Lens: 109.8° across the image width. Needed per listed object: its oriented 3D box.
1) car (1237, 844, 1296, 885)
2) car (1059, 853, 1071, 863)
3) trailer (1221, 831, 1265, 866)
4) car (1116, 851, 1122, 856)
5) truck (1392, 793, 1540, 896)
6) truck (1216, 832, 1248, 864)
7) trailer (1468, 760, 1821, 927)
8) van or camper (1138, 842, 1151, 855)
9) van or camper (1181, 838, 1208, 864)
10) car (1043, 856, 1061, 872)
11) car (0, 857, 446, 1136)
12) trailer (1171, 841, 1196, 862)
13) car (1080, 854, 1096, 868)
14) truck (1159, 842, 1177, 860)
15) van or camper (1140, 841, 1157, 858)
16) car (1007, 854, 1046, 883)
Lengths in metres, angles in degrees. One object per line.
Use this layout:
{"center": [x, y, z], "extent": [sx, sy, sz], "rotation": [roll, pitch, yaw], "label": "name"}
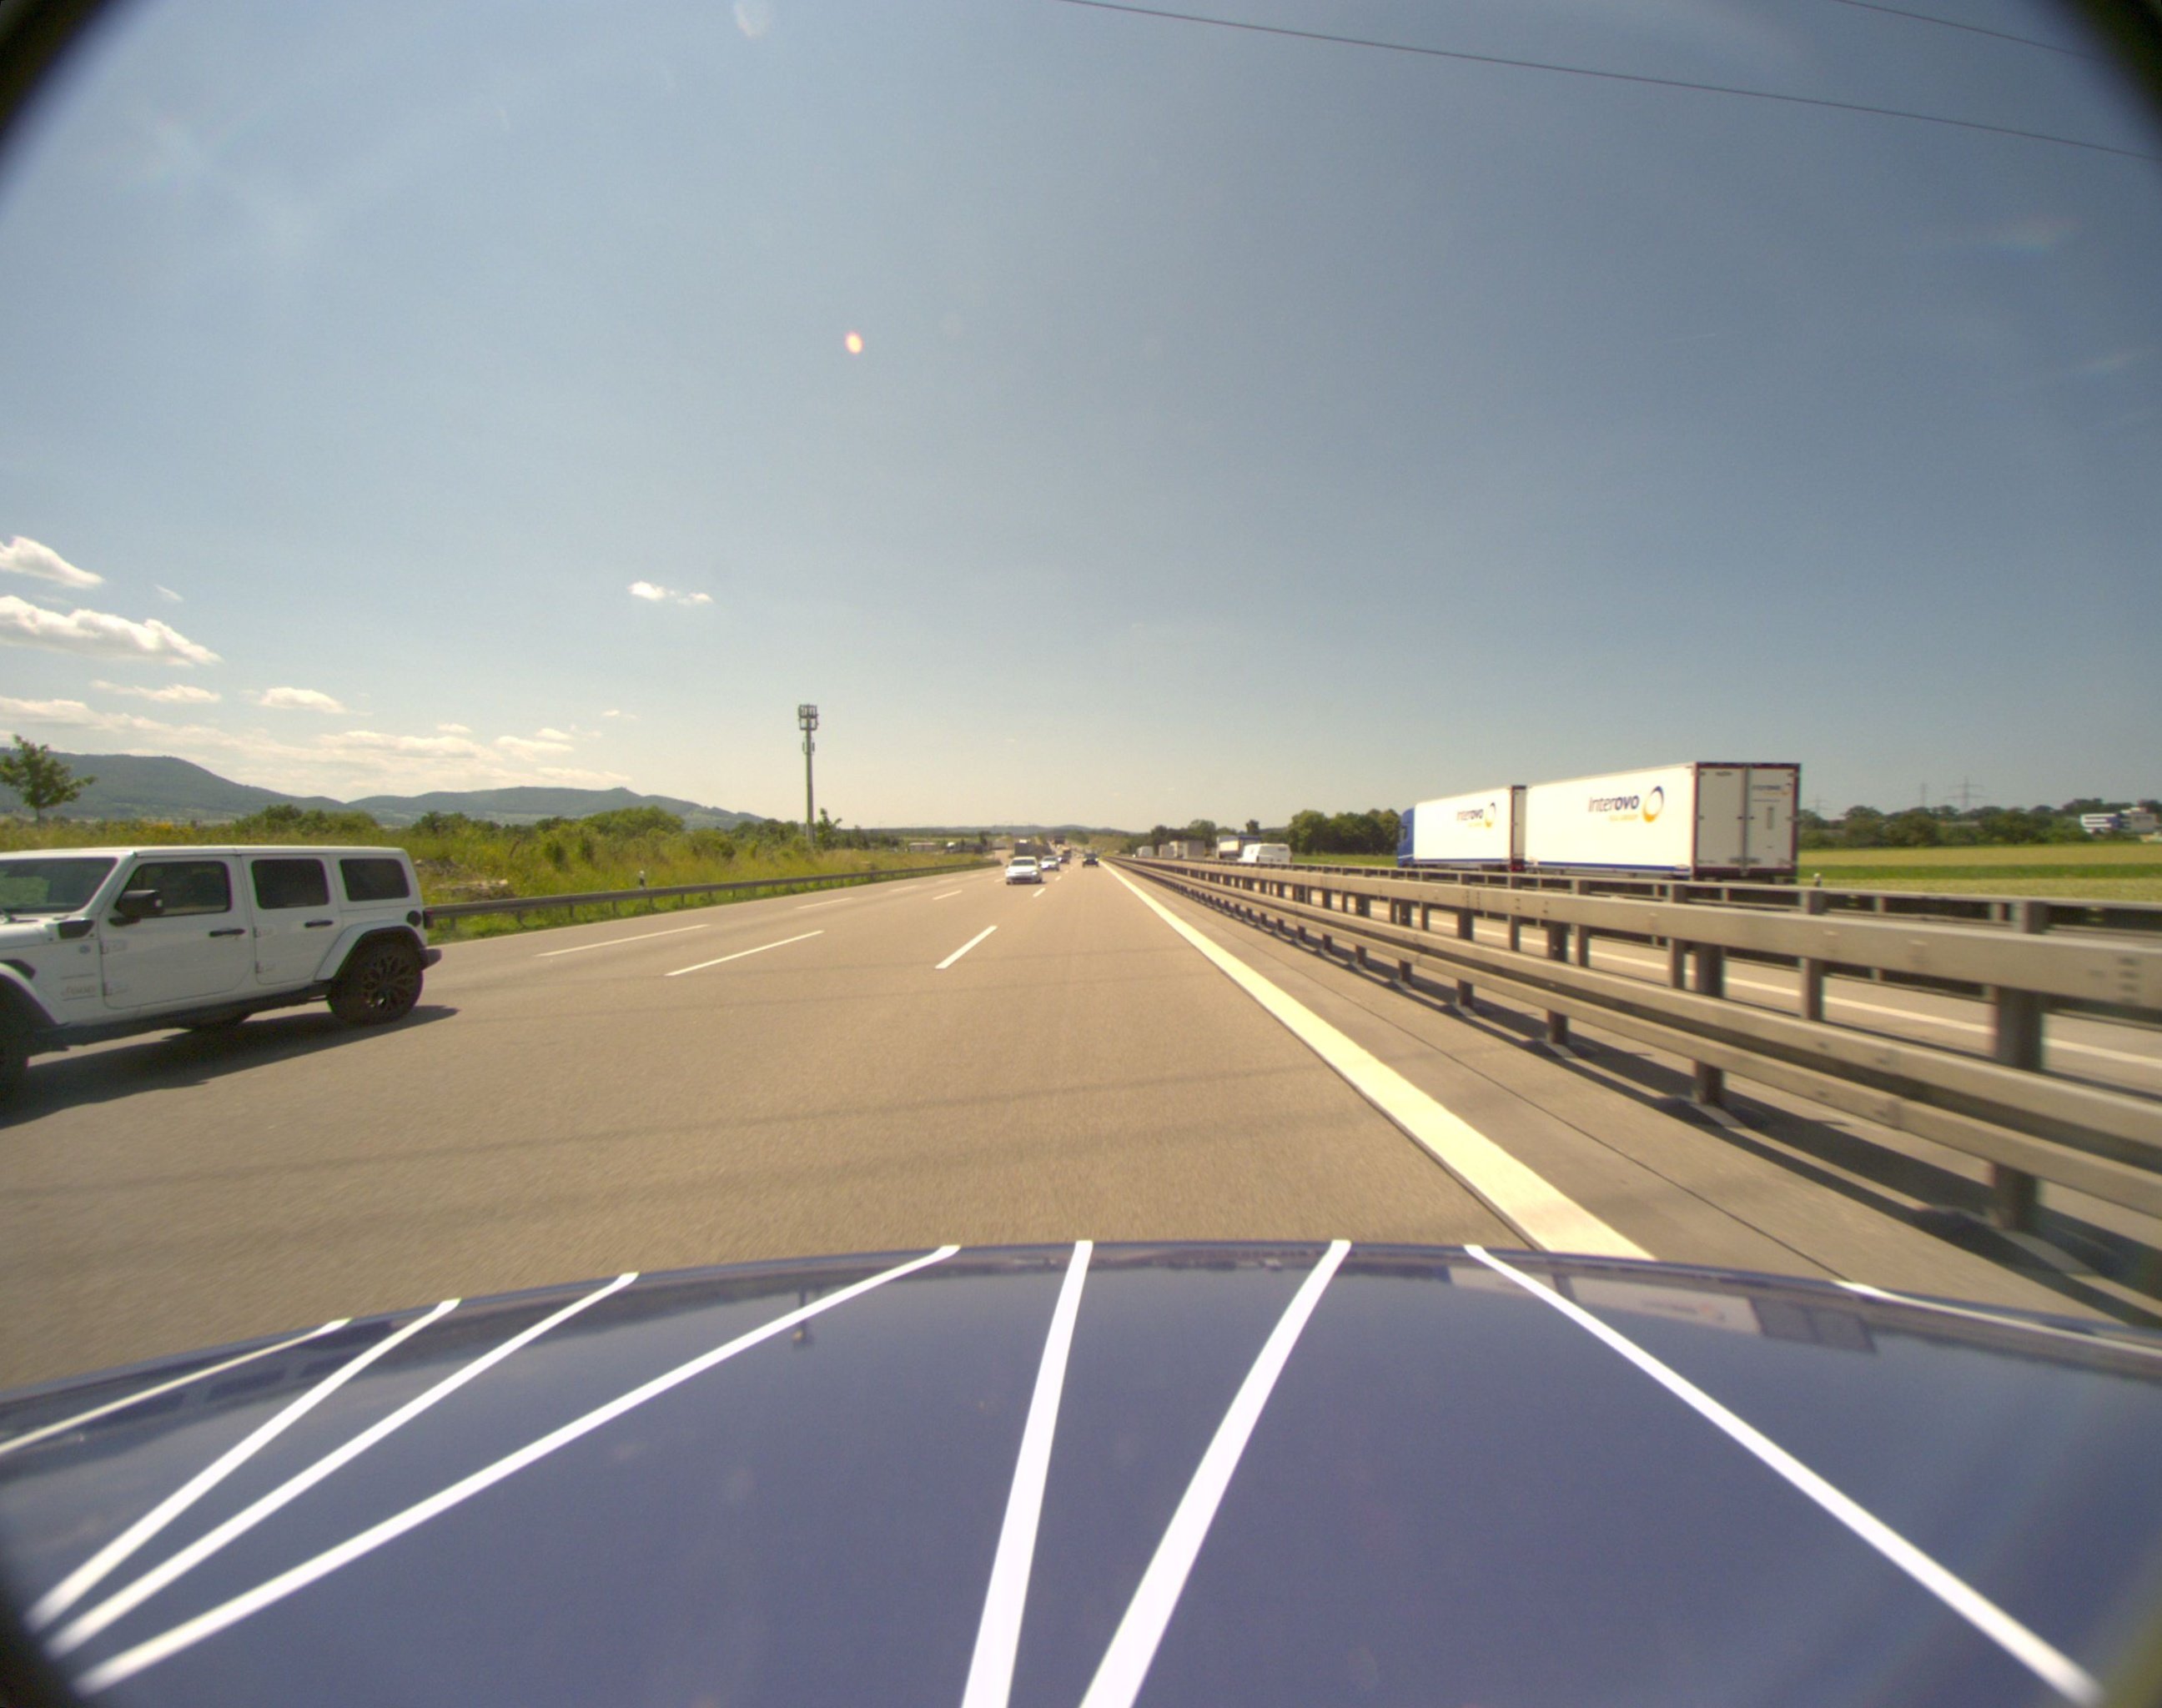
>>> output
{"center": [9.733, 0.505, 40.245], "extent": [1.989, 1.998, 4.649], "rotation": [1, 0, 1], "label": "car"}
{"center": [-2.477, 0.604, 118.080], "extent": [1.751, 1.559, 3.999], "rotation": [-2, 1, -1], "label": "car"}
{"center": [18.433, -0.607, 87.355], "extent": [2.713, 3.671, 11.358], "rotation": [-2, 1, 1], "label": "trailer"}
{"center": [12.345, -0.098, 250.029], "extent": [1.815, 1.631, 4.428], "rotation": [1, 1, 1], "label": "car"}
{"center": [17.028, -0.422, 34.315], "extent": [2.828, 4.066, 7.530], "rotation": [-2, 1, 0], "label": "truck"}
{"center": [18.513, -0.711, 93.544], "extent": [2.724, 3.669, 6.055], "rotation": [-2, 1, 1], "label": "truck"}
{"center": [16.942, -0.319, 24.662], "extent": [2.840, 4.023, 11.664], "rotation": [-2, 1, 1], "label": "trailer"}
{"center": [13.405, -1.158, 159.883], "extent": [2.163, 2.719, 7.295], "rotation": [-2, 1, 1], "label": "van or camper"}
{"center": [14.545, -0.406, 97.662], "extent": [2.346, 3.146, 7.401], "rotation": [1, 0, 1], "label": "van or camper"}
{"center": [-2.727, 0.935, 72.059], "extent": [1.634, 1.381, 3.999], "rotation": [-2, 1, -1], "label": "car"}
{"center": [-8.135, 0.980, 6.326], "extent": [2.039, 1.794, 4.250], "rotation": [-2, 0, 0], "label": "car"}
{"center": [19.767, -0.536, 147.313], "extent": [2.965, 3.895, 12.893], "rotation": [-2, 1, 1], "label": "trailer"}
{"center": [0.773, 0.802, 87.431], "extent": [1.751, 1.439, 3.999], "rotation": [-2, 0, -1], "label": "car"}
{"center": [14.779, -0.578, 129.596], "extent": [2.255, 2.992, 7.427], "rotation": [1, 1, 1], "label": "truck"}
{"center": [10.767, -0.729, 121.393], "extent": [2.128, 2.560, 6.121], "rotation": [-2, 1, 1], "label": "van or camper"}
{"center": [-2.999, 0.757, 42.379], "extent": [1.780, 1.425, 4.690], "rotation": [-2, 1, 0], "label": "car"}
